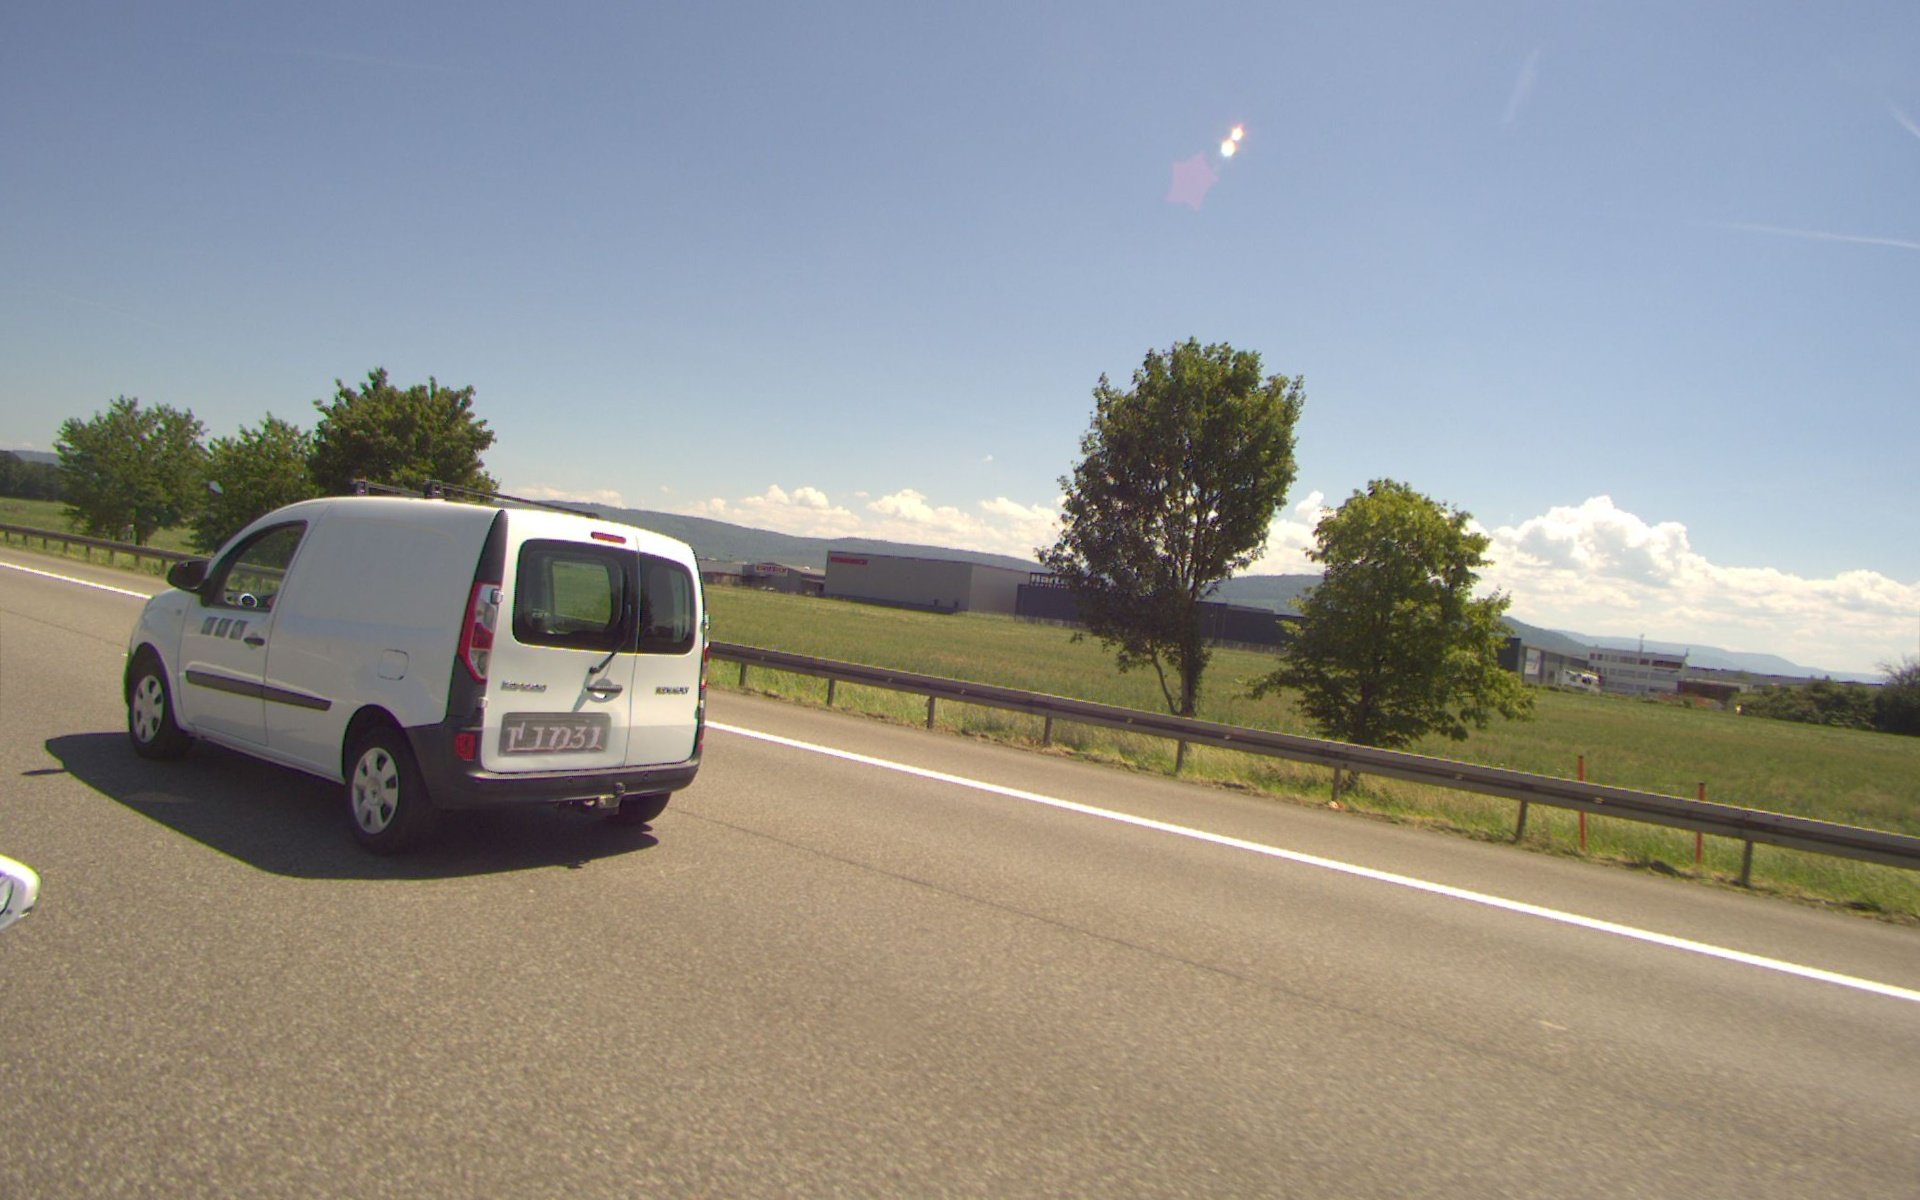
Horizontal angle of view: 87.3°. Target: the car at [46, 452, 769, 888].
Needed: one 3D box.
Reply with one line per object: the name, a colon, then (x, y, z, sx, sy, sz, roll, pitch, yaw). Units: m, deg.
car: (-3.716, 0.229, 6.520, 4.623, 1.884, 1.857, 6, -2, 31)
